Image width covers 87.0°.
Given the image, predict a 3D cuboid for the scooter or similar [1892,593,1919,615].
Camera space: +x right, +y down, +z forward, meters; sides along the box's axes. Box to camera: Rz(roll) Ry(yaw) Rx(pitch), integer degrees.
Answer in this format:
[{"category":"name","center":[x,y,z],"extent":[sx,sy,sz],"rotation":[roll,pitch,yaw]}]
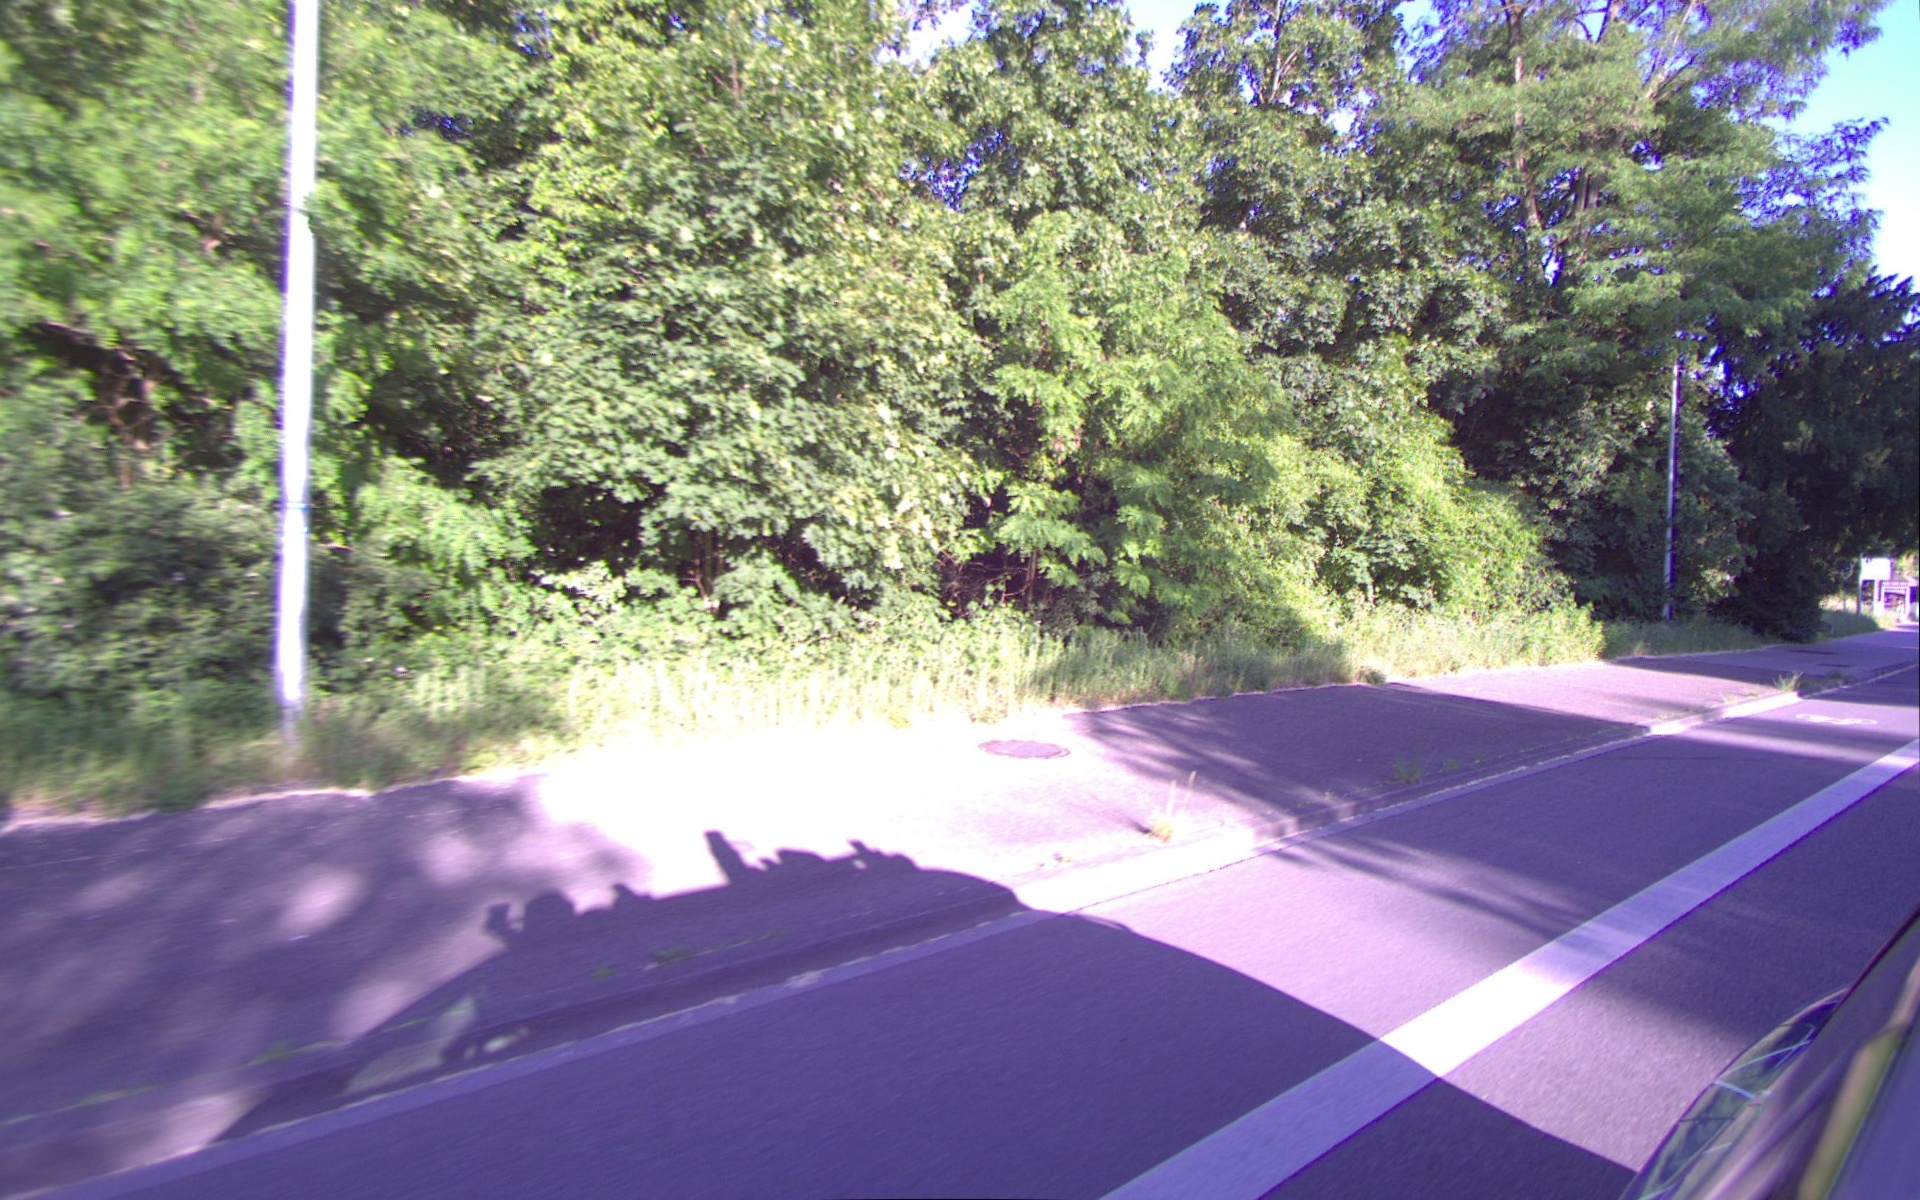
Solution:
[{"category":"scooter or similar","center":[55.481,0.225,59.252],"extent":[1.300,1.263,0.726],"rotation":[1,1,-17]}]
